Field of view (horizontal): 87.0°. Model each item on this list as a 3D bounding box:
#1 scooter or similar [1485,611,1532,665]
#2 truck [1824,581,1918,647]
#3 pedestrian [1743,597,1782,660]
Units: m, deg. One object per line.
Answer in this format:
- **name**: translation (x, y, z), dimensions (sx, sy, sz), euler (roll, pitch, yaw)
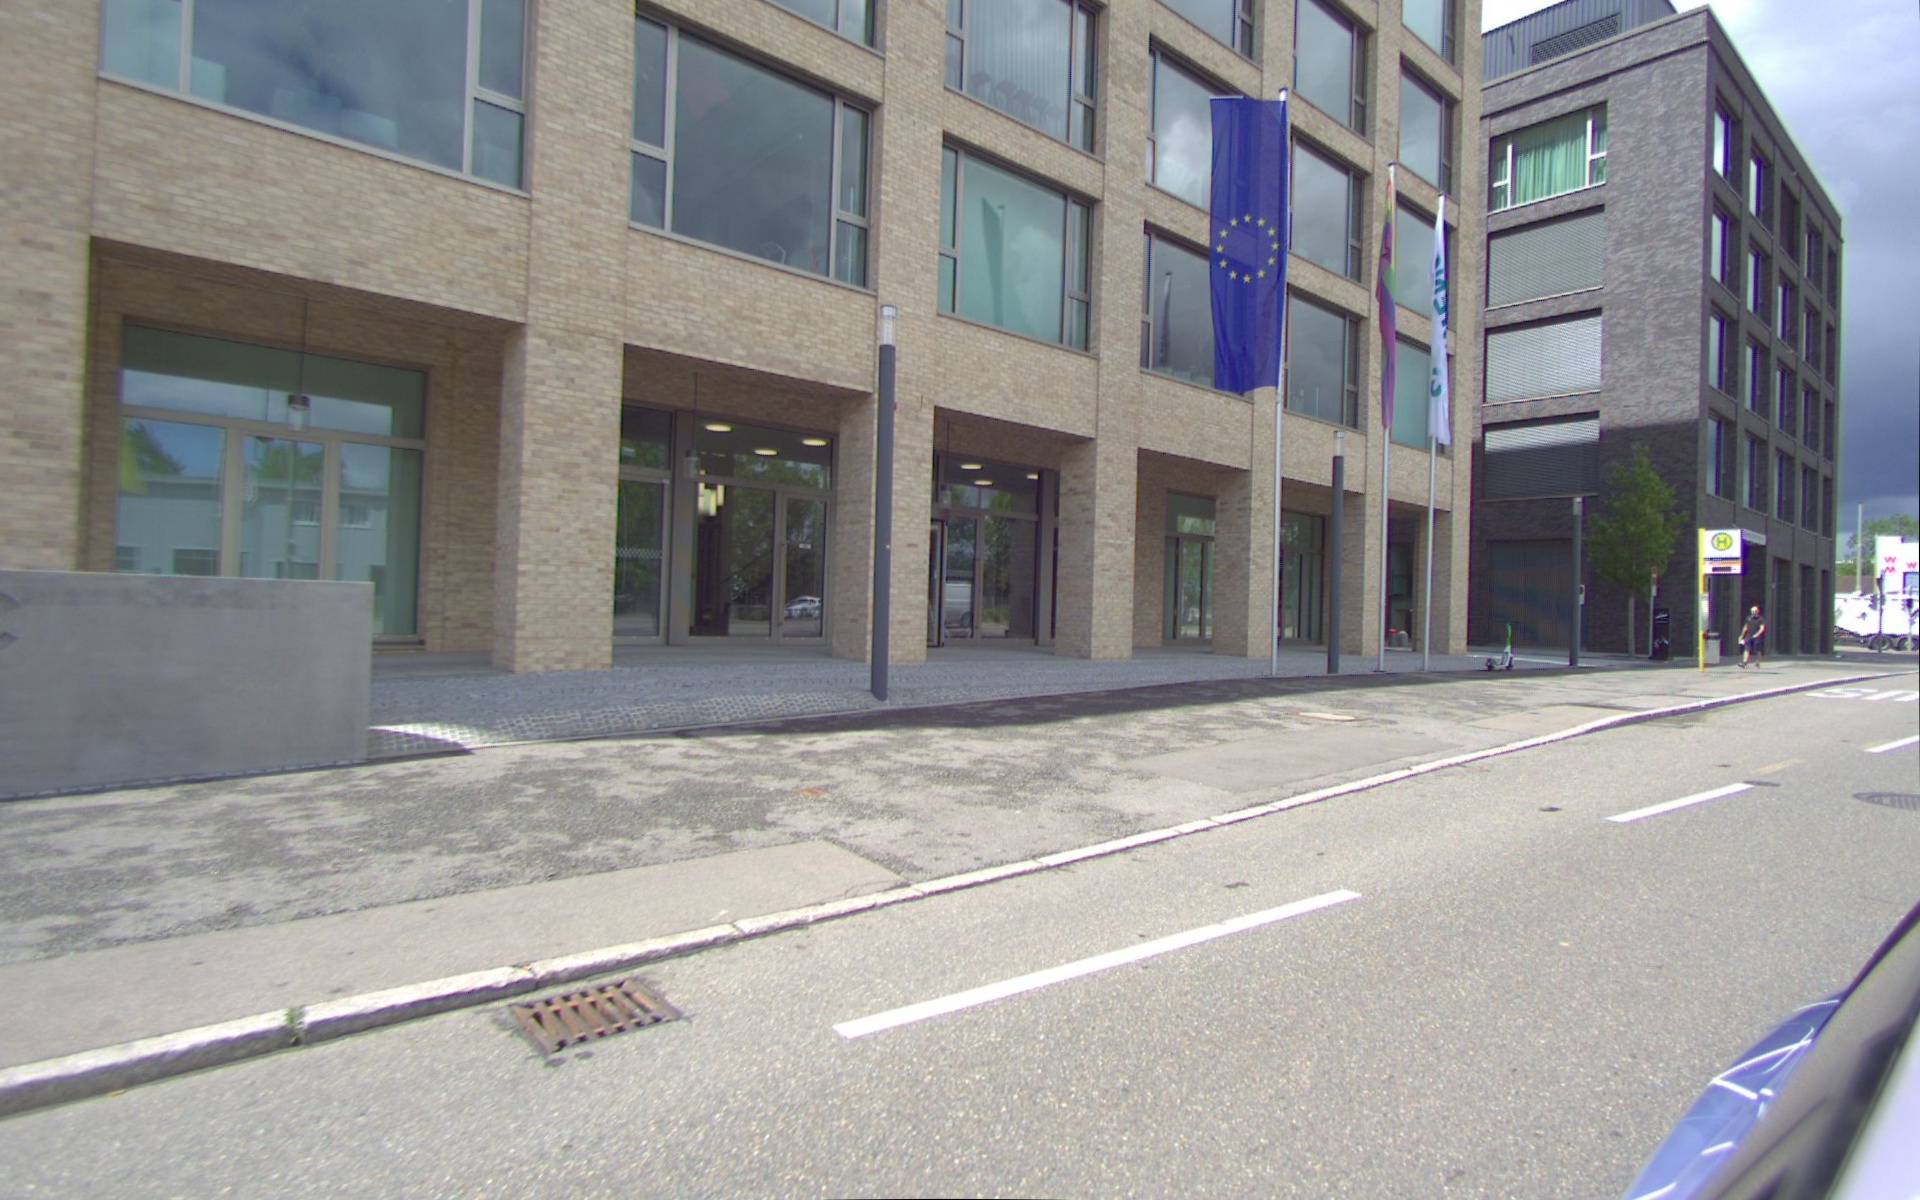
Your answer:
- **scooter or similar**: translation (12.173, 0.831, 22.434), dimensions (1.379, 1.167, 0.428), euler (1, 1, -41)
- **truck**: translation (59.696, 0.913, 66.182), dimensions (10.176, 3.961, 2.837), euler (1, 1, -38)
- **pedestrian**: translation (22.819, 0.815, 28.777), dimensions (0.945, 1.750, 0.684), euler (2, -1, -40)
